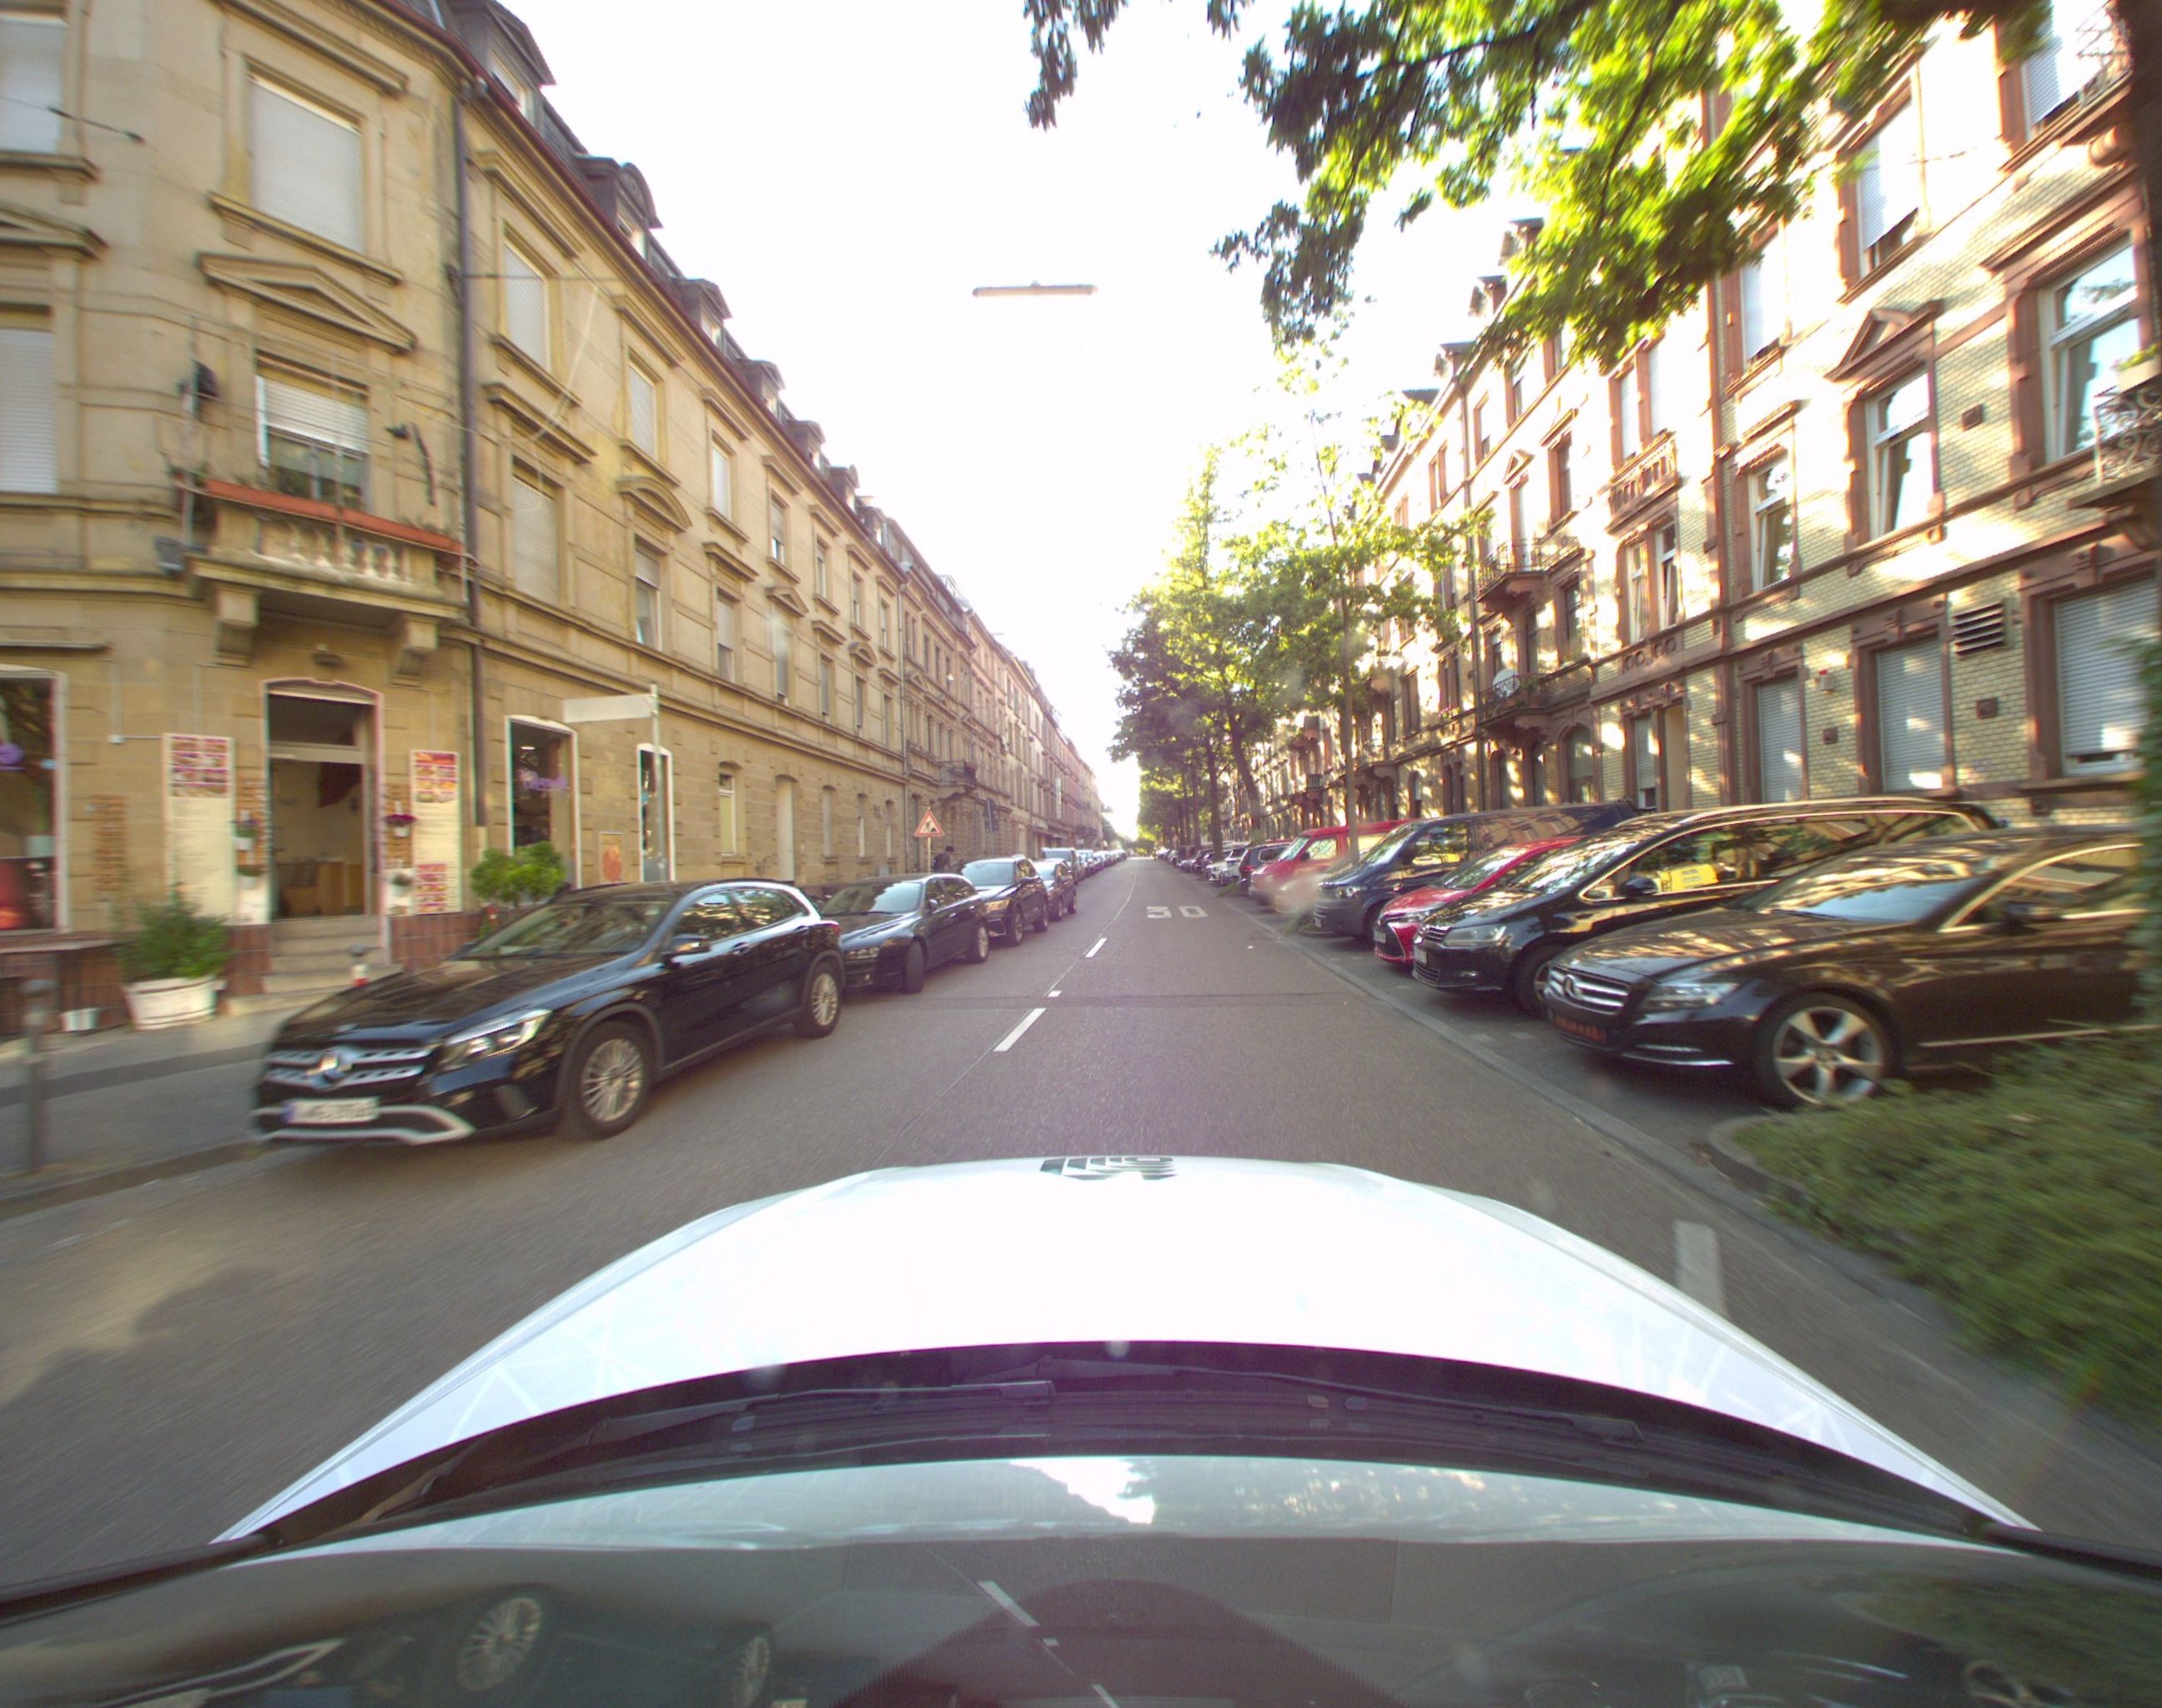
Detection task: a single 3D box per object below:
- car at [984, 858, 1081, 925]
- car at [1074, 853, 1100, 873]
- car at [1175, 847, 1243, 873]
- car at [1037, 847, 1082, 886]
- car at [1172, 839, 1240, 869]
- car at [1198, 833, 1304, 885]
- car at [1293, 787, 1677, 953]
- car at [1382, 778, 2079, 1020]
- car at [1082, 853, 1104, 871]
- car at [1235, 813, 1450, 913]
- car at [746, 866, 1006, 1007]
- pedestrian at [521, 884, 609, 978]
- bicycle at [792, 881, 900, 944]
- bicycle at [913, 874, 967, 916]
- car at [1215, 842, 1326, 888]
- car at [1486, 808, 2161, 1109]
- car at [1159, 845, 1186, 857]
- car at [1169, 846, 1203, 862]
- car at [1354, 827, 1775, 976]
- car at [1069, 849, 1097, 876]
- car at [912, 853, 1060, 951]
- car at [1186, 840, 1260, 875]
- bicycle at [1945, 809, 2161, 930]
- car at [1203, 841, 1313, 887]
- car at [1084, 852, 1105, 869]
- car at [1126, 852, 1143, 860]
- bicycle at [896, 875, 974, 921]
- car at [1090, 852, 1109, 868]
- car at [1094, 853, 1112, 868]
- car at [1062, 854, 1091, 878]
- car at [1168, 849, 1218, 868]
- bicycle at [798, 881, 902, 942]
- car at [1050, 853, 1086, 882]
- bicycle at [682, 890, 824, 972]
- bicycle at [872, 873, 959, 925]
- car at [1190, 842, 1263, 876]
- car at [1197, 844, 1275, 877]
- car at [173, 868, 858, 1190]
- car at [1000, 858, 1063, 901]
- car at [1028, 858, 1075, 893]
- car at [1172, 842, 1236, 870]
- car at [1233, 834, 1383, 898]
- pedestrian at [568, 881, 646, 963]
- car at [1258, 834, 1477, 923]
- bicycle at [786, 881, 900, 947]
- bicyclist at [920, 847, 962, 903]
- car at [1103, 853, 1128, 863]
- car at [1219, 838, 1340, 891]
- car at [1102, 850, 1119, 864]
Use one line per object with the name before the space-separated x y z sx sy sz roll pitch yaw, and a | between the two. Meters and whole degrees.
car | -1.176 0.915 21.627 1.749 1.501 4.068 -3 0 7
car | 0.512 0.698 64.955 1.751 1.473 4.062 -3 0 3
car | 8.673 0.373 55.453 4.208 1.403 1.834 -4 0 -1
car | -1.042 0.604 42.740 1.824 1.943 5.266 -1 0 4
car | 9.893 0.003 64.780 5.035 1.925 1.837 -4 0 4
car | 7.781 0.214 37.568 4.428 1.924 1.851 -5 1 1
car | 6.127 0.251 12.870 5.000 2.215 1.994 -2 -1 3
car | 5.459 0.418 7.538 4.659 1.679 1.856 -4 -1 9
car | 1.083 0.658 71.043 1.751 1.473 4.062 -3 0 3
car | 6.410 0.219 20.330 4.658 2.033 1.879 -4 -1 1
car | -2.540 0.968 11.405 1.748 1.451 4.563 -3 -1 10
pedestrian | -7.398 1.083 11.715 0.722 1.259 0.757 -2 -1 2
bicycle | -4.365 1.084 15.177 1.857 1.128 0.529 -1 -1 6
bicycle | -4.697 1.344 27.461 0.991 1.158 2.928 -3 1 5
car | 7.523 0.448 32.633 3.993 1.434 1.796 -5 -1 3
car | 5.431 0.526 5.119 4.760 1.413 1.855 -4 -1 6
car | 13.706 -0.459 121.998 3.834 1.573 1.719 -4 0 3
car | 12.799 0.012 99.596 3.843 1.573 1.715 -4 0 -4
car | 5.694 0.553 10.037 4.086 1.534 1.727 -2 -1 4
car | 0.151 0.575 60.096 1.751 1.842 4.533 -3 0 3
car | -1.731 0.850 16.486 1.748 1.600 4.561 -3 0 9
car | 8.760 0.193 50.351 4.204 1.776 1.836 -4 0 2
bicycle | 11.098 0.141 8.926 0.667 1.171 2.597 -5 -1 7
car | 7.543 0.404 35.012 4.326 1.556 1.852 -5 1 3
car | 1.261 0.605 75.913 1.751 1.473 4.062 -3 0 3
car | 13.081 0.453 198.404 3.960 1.859 1.757 -2 0 12
bicycle | -3.705 1.106 20.669 1.859 1.128 0.529 -1 -1 4
car | 1.880 0.598 82.146 1.751 1.473 4.062 -3 0 3
car | 2.396 0.639 86.899 1.751 1.473 4.062 -3 0 3
car | -0.254 0.783 55.148 1.751 1.467 4.003 -1 0 3
car | 9.261 0.362 67.688 3.837 1.293 1.718 -4 0 0
bicycle | -4.483 1.111 15.817 1.857 1.128 0.529 -1 -1 6
car | -0.717 0.757 48.534 1.745 1.608 4.389 -1 0 4
bicycle | -4.735 1.112 11.806 1.857 1.128 0.529 -1 -1 6
bicycle | -3.789 1.024 18.686 1.859 1.128 0.529 -1 -1 4
car | 8.479 0.292 47.711 3.993 1.607 1.735 -4 -1 3
car | 8.523 0.349 45.116 3.993 1.467 1.735 -4 -1 3
car | -3.447 0.927 6.114 1.748 1.488 4.150 -3 -1 10
car | -1.897 0.963 32.490 1.749 1.501 4.067 -3 0 7
car | -1.277 0.927 37.033 1.584 1.475 3.706 -1 0 6
car | 9.205 0.141 61.075 4.230 1.795 1.825 -4 0 -16
car | 6.952 0.373 25.342 4.164 1.627 1.841 -4 -1 7
pedestrian | -7.476 1.061 12.878 0.722 1.214 0.757 -2 -1 2
car | 6.042 0.512 17.591 4.036 1.510 1.881 -4 -1 3
bicycle | -4.221 1.059 14.491 1.857 1.128 0.529 -1 -1 6
bicyclist | -4.713 0.690 27.469 0.991 1.789 1.209 -3 0 5
car | 5.488 0.613 129.901 1.974 1.486 4.025 -4 -2 36
car | 7.277 0.388 30.189 3.994 1.627 1.806 -4 -1 2
car | 3.608 0.382 99.573 1.985 1.486 4.003 -3 -2 3
